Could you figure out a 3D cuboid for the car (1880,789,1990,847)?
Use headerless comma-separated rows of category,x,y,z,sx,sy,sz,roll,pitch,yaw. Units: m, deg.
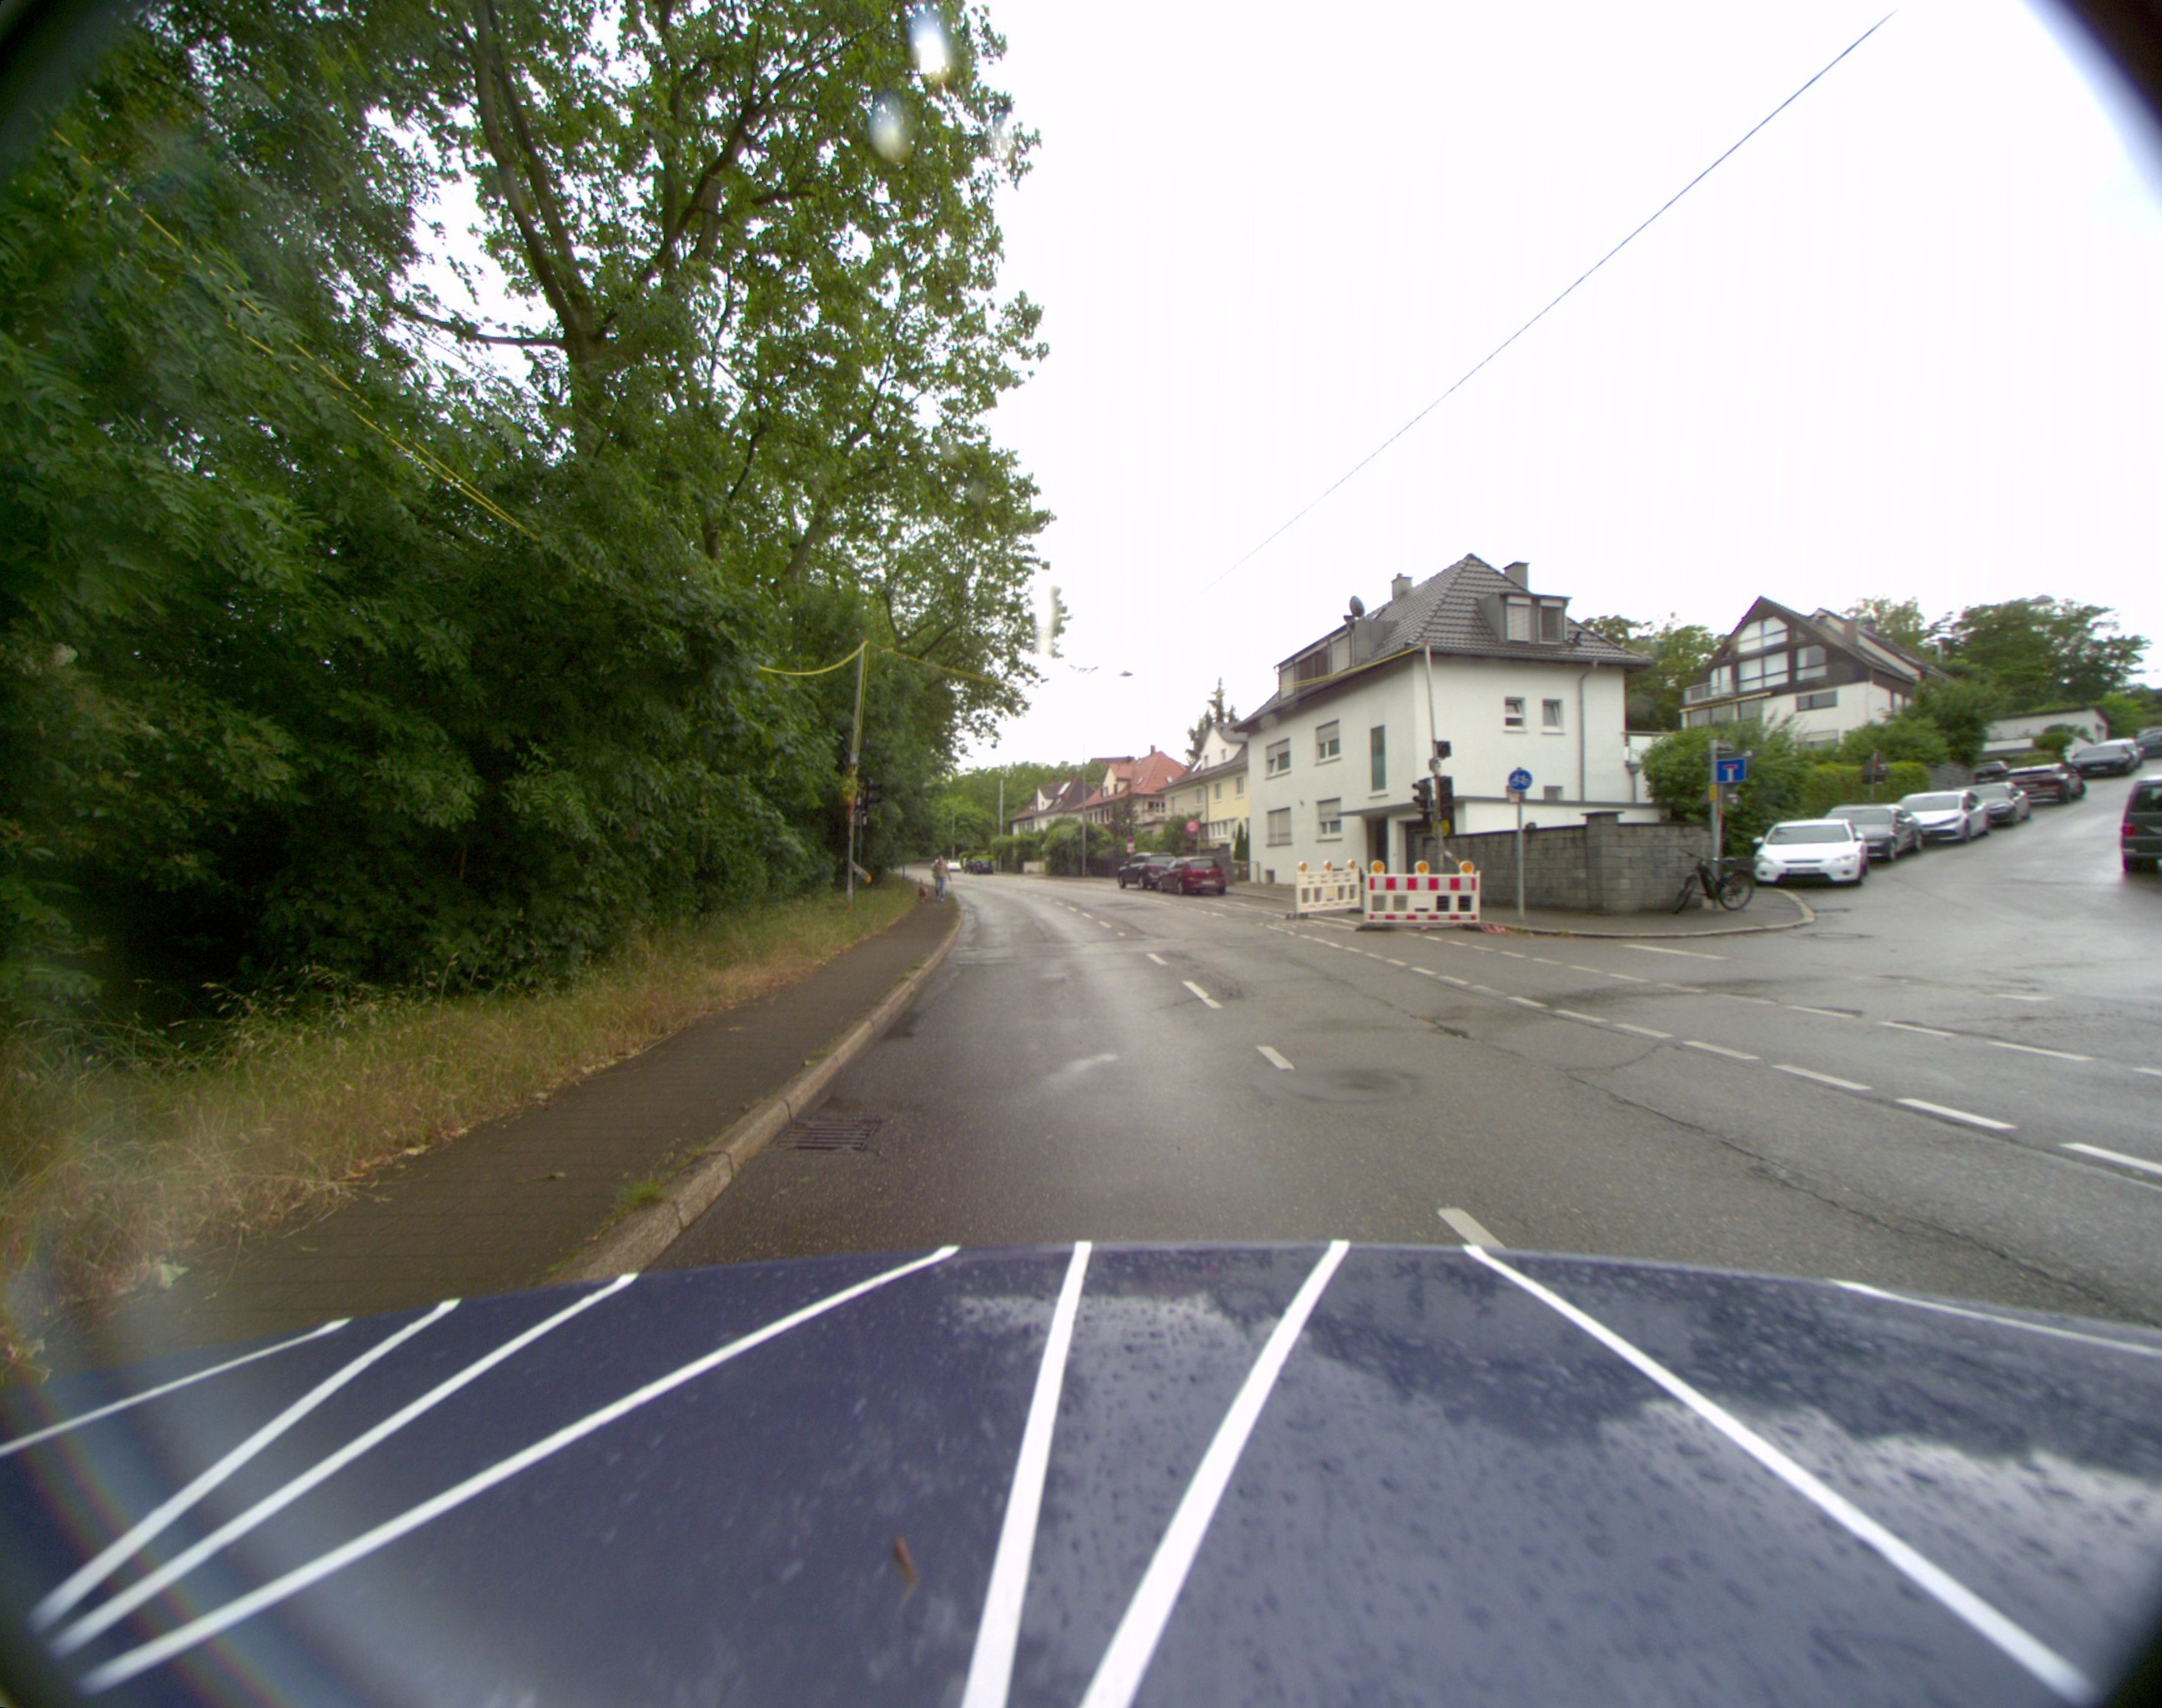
car,27.277,-1.159,24.241,3.951,1.462,1.755,-7,3,-33

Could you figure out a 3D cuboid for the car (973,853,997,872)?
car,-9.598,0.841,75.967,1.882,1.814,4.121,-2,0,-14

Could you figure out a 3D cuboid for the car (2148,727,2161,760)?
car,72.472,-7.461,48.990,2.003,2.000,3.993,-2,-4,-32

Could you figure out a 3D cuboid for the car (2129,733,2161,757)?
car,68.333,-6.950,47.706,1.286,1.310,2.945,-3,1,-36

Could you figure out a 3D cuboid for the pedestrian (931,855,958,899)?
pedestrian,-4.763,0.798,26.510,0.735,1.490,0.785,-3,1,-1

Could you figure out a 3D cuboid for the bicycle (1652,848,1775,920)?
bicycle,11.595,0.533,13.946,2.006,1.232,0.510,-2,3,-8

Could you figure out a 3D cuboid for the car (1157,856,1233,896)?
car,4.391,0.814,29.916,1.787,1.423,3.844,-2,0,-10

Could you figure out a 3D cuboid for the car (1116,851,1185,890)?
car,3.138,0.729,35.044,1.798,1.630,4.150,-1,0,-15

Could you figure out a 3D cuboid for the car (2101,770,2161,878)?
car,23.890,-0.757,16.271,4.497,2.003,1.996,-7,3,-31

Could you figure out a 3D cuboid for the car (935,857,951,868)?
car,-18.731,1.131,103.024,1.691,1.419,3.770,-2,0,-17

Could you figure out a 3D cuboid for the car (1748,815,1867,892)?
car,17.784,-0.053,18.547,4.126,1.455,1.849,-7,4,-43

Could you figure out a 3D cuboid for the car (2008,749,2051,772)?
car,57.247,-5.649,45.874,3.656,1.205,1.577,-7,3,-38

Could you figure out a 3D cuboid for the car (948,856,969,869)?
car,-15.224,1.070,94.188,2.071,1.477,4.556,-2,0,-16

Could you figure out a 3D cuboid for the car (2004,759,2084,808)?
car,40.727,-2.991,32.122,4.004,1.617,1.638,-8,4,-32

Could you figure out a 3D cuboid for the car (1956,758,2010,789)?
car,52.875,-4.659,44.526,4.020,1.545,1.812,-3,1,-37

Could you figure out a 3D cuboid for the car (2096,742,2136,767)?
car,59.845,-5.753,43.906,2.988,1.191,1.305,-6,3,-35

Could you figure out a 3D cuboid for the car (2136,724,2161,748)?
car,81.126,-8.882,55.967,1.754,1.508,3.961,-3,1,-35

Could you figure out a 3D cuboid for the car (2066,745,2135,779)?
car,54.823,-4.890,40.850,4.034,1.511,1.786,-2,0,-31

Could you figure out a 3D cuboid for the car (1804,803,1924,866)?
car,22.471,-0.564,21.769,3.910,1.380,1.719,-7,3,-34

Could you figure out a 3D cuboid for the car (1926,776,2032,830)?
car,32.335,-1.839,27.344,4.111,1.430,1.921,-9,4,-33
